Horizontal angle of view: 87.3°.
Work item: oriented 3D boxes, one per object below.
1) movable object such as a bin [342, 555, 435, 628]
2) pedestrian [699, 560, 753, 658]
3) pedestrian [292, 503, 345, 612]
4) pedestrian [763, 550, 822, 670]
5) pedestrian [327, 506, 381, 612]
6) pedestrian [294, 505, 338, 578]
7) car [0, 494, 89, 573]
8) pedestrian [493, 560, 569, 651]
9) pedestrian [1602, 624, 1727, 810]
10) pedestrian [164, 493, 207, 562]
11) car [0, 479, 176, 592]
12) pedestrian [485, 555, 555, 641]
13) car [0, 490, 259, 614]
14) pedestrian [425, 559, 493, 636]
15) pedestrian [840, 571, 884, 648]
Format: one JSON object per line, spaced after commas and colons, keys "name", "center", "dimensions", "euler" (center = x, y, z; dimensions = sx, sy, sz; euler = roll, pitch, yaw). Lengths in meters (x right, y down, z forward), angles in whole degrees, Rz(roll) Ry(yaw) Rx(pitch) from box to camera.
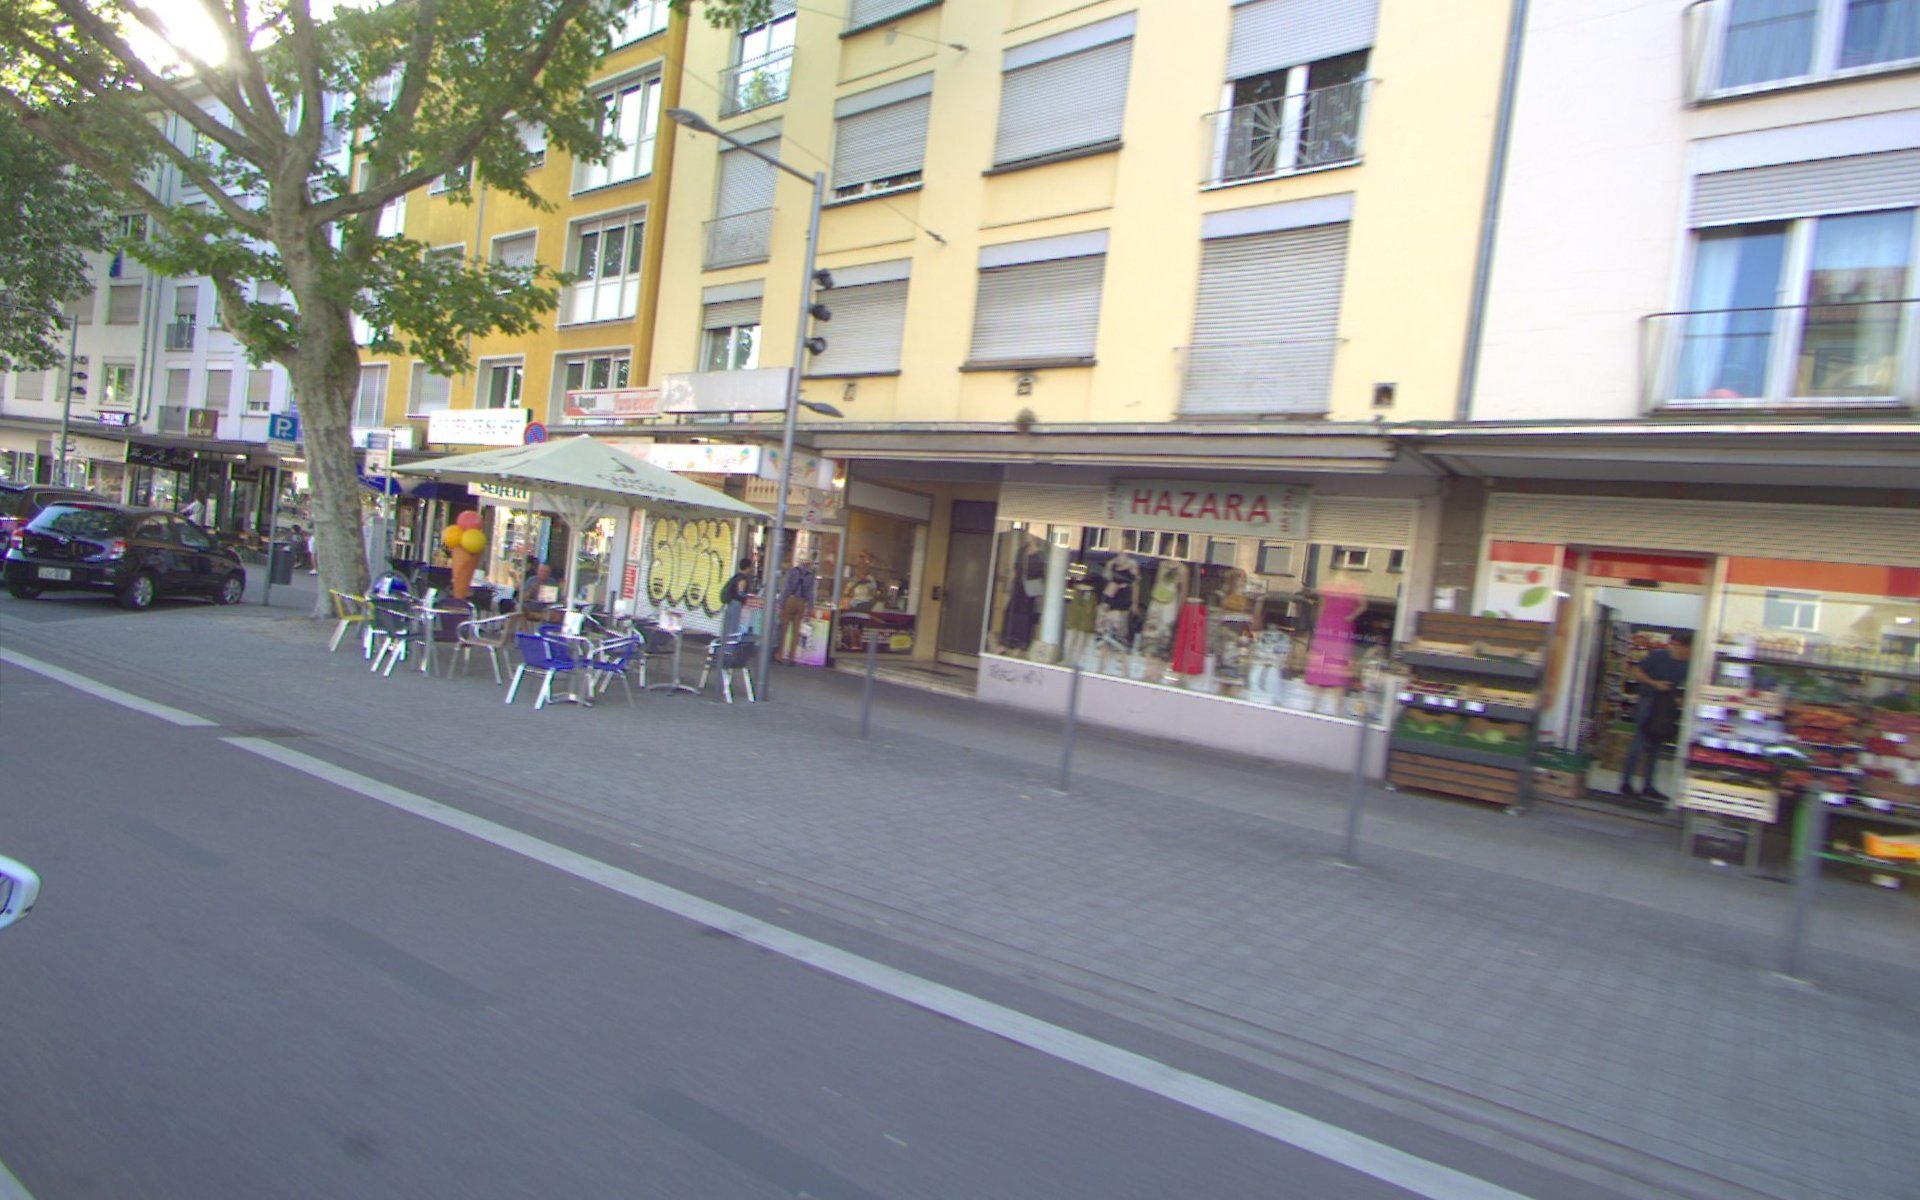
{"name": "movable object such as a bin", "center": [-9.403, -0.126, 16.574], "dimensions": [0.824, 1.035, 0.930], "euler": [7, -1, 10]}
{"name": "pedestrian", "center": [-3.976, 0.145, 17.075], "dimensions": [0.619, 1.566, 0.633], "euler": [6, 1, -28]}
{"name": "pedestrian", "center": [-11.358, -0.747, 17.820], "dimensions": [0.466, 1.855, 0.516], "euler": [6, 1, -6]}
{"name": "pedestrian", "center": [-2.680, 0.153, 16.102], "dimensions": [0.629, 1.826, 0.623], "euler": [6, 1, -23]}
{"name": "pedestrian", "center": [-11.039, -0.741, 18.342], "dimensions": [0.466, 1.855, 0.517], "euler": [6, 1, 10]}
{"name": "pedestrian", "center": [-16.999, -1.539, 26.558], "dimensions": [0.776, 1.816, 0.705], "euler": [7, 4, 37]}
{"name": "car", "center": [-19.320, -1.394, 19.295], "dimensions": [1.778, 1.469, 4.173], "euler": [6, 0, -6]}
{"name": "pedestrian", "center": [-6.345, 0.082, 14.883], "dimensions": [0.733, 1.240, 0.606], "euler": [7, 1, 32]}
{"name": "pedestrian", "center": [7.325, 1.199, 10.486], "dimensions": [0.866, 1.764, 0.684], "euler": [7, -1, 35]}
{"name": "pedestrian", "center": [-22.761, -2.133, 29.568], "dimensions": [0.811, 1.900, 0.643], "euler": [7, 1, 34]}
{"name": "car", "center": [-15.770, -1.106, 17.234], "dimensions": [1.779, 1.702, 4.144], "euler": [6, 0, -9]}
{"name": "pedestrian", "center": [-7.214, -0.036, 16.491], "dimensions": [0.746, 1.290, 0.584], "euler": [7, -1, 32]}
{"name": "car", "center": [-13.050, -0.693, 15.883], "dimensions": [1.712, 1.559, 3.602], "euler": [6, 0, -9]}
{"name": "pedestrian", "center": [-8.148, -0.043, 16.366], "dimensions": [0.738, 1.128, 0.584], "euler": [7, -1, 32]}
{"name": "pedestrian", "center": [-1.753, 0.177, 18.069], "dimensions": [0.500, 1.313, 0.426], "euler": [7, 1, 35]}
